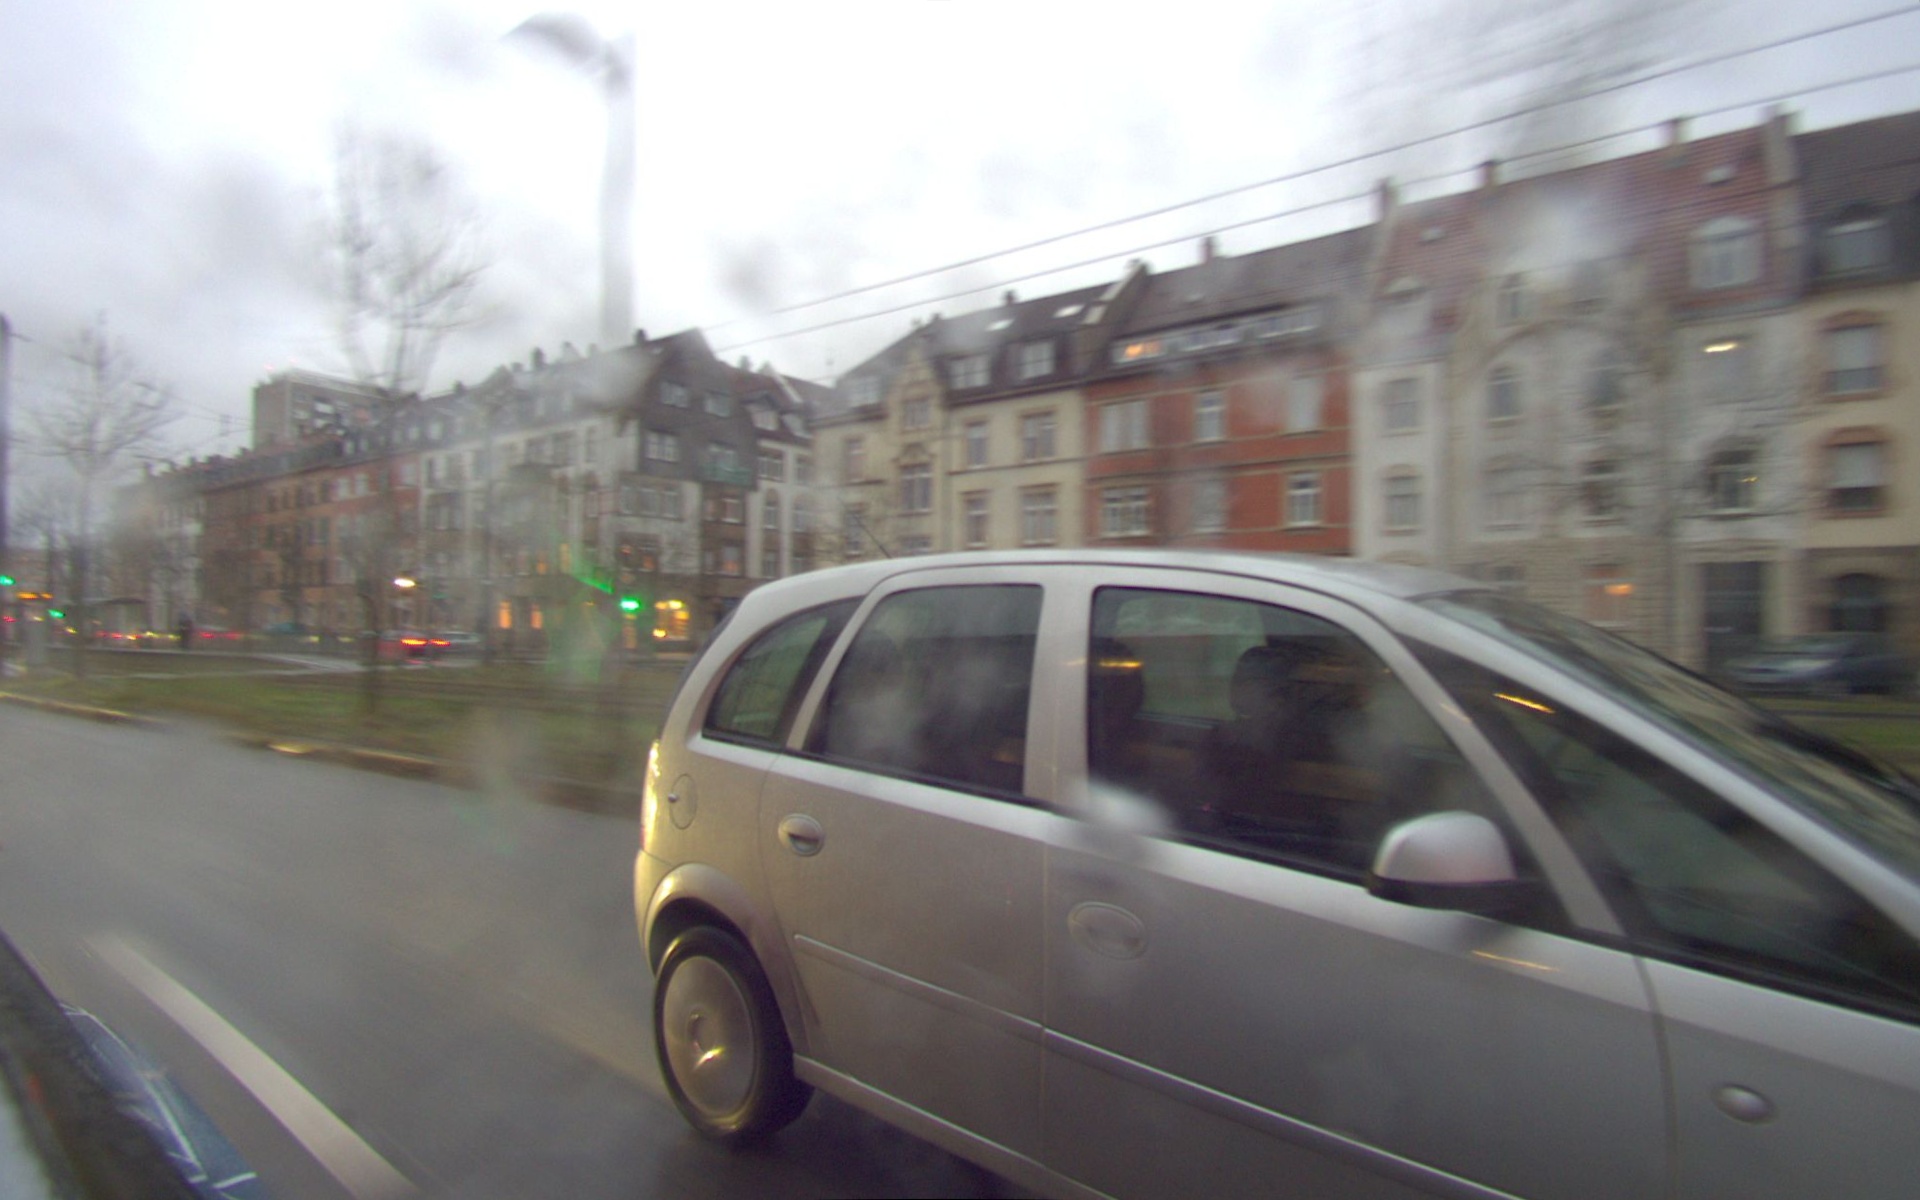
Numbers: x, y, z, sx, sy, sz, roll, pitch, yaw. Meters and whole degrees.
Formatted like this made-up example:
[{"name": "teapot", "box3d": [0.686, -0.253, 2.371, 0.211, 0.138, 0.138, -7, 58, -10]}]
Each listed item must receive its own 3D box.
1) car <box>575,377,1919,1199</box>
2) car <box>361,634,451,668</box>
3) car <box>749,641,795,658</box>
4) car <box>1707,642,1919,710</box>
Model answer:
[{"name": "car", "box3d": [1.002, 0.569, 2.378, 4.049, 1.612, 1.791, -1, -1, 39]}, {"name": "car", "box3d": [-25.576, 2.322, 46.671, 4.690, 1.464, 1.847, -1, -3, 37]}, {"name": "car", "box3d": [-12.444, 3.258, 67.105, 1.328, 1.083, 2.864, -1, -3, 36]}, {"name": "car", "box3d": [18.348, 1.570, 21.545, 3.931, 1.342, 2.006, 1, -2, -18]}]
